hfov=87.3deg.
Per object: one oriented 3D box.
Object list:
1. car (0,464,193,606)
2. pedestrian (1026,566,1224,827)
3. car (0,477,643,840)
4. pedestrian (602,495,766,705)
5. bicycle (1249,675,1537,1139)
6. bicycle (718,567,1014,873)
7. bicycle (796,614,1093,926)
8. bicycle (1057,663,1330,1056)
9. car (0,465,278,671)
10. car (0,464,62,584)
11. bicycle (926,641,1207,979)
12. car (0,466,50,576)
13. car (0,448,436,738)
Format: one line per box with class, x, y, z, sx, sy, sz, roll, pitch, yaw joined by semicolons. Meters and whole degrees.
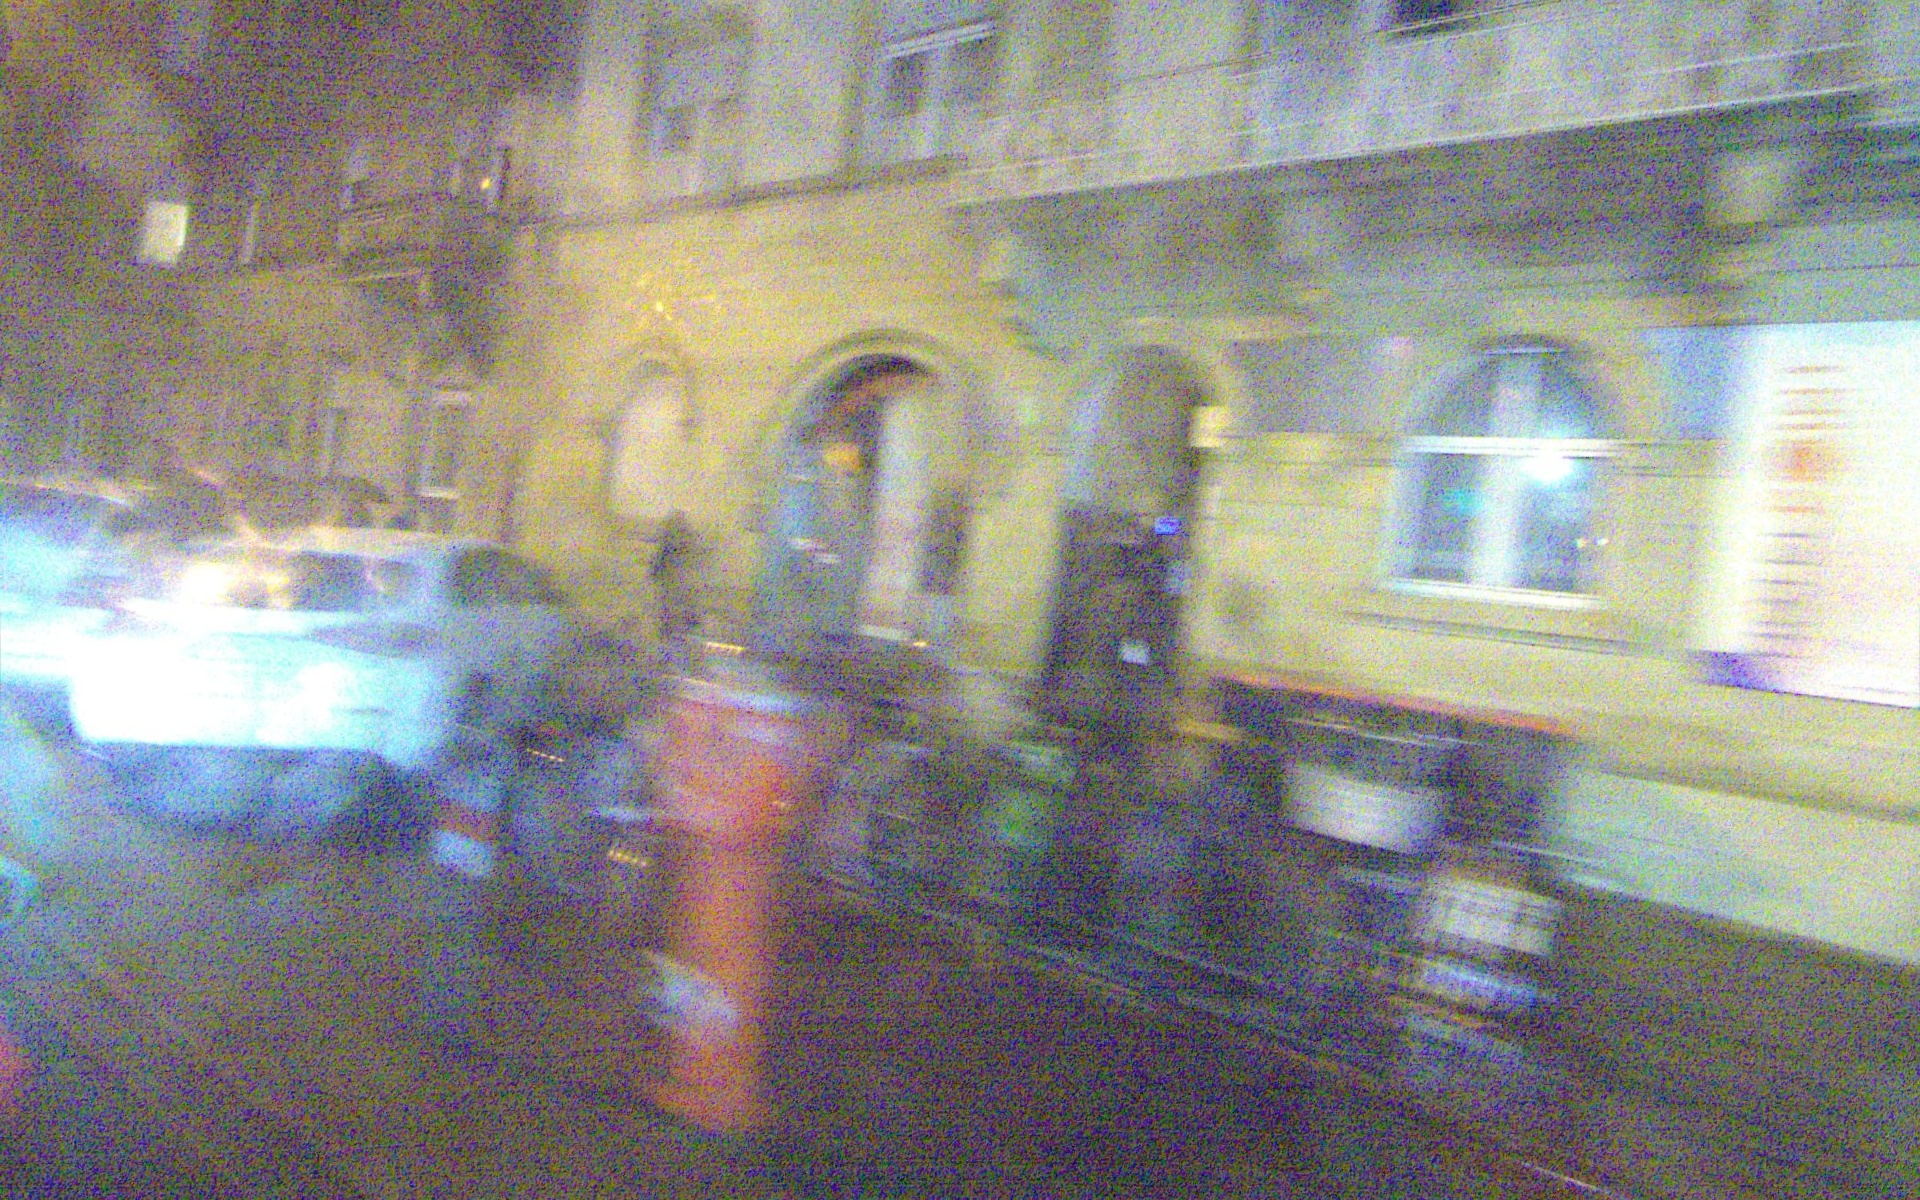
car;-11.125;-0.808;11.533;1.633;1.493;4.179;7;1;-6
pedestrian;1.182;0.651;7.203;0.983;1.639;0.781;8;2;33
car;-3.621;0.240;6.776;1.824;1.476;4.179;8;1;-5
pedestrian;-2.737;0.014;10.020;0.983;1.905;0.958;8;1;33
bicycle;1.773;0.997;4.010;0.698;1.268;1.899;7;1;28
bicycle;-0.427;0.599;5.642;0.585;1.377;1.899;7;1;28
bicycle;0.019;0.765;5.226;0.585;1.268;1.899;7;1;28
bicycle;1.122;0.955;4.433;0.585;1.268;1.899;7;1;28
car;-8.433;-0.366;9.005;1.699;1.610;4.182;8;1;-1
car;-14.008;-1.116;12.861;1.634;1.666;4.177;7;1;-9
bicycle;0.615;0.873;4.913;0.585;1.268;1.899;7;1;28
car;-15.924;-1.353;14.246;1.736;1.666;4.186;8;1;12
car;-6.023;-0.167;7.821;1.849;1.597;4.179;8;1;-5
